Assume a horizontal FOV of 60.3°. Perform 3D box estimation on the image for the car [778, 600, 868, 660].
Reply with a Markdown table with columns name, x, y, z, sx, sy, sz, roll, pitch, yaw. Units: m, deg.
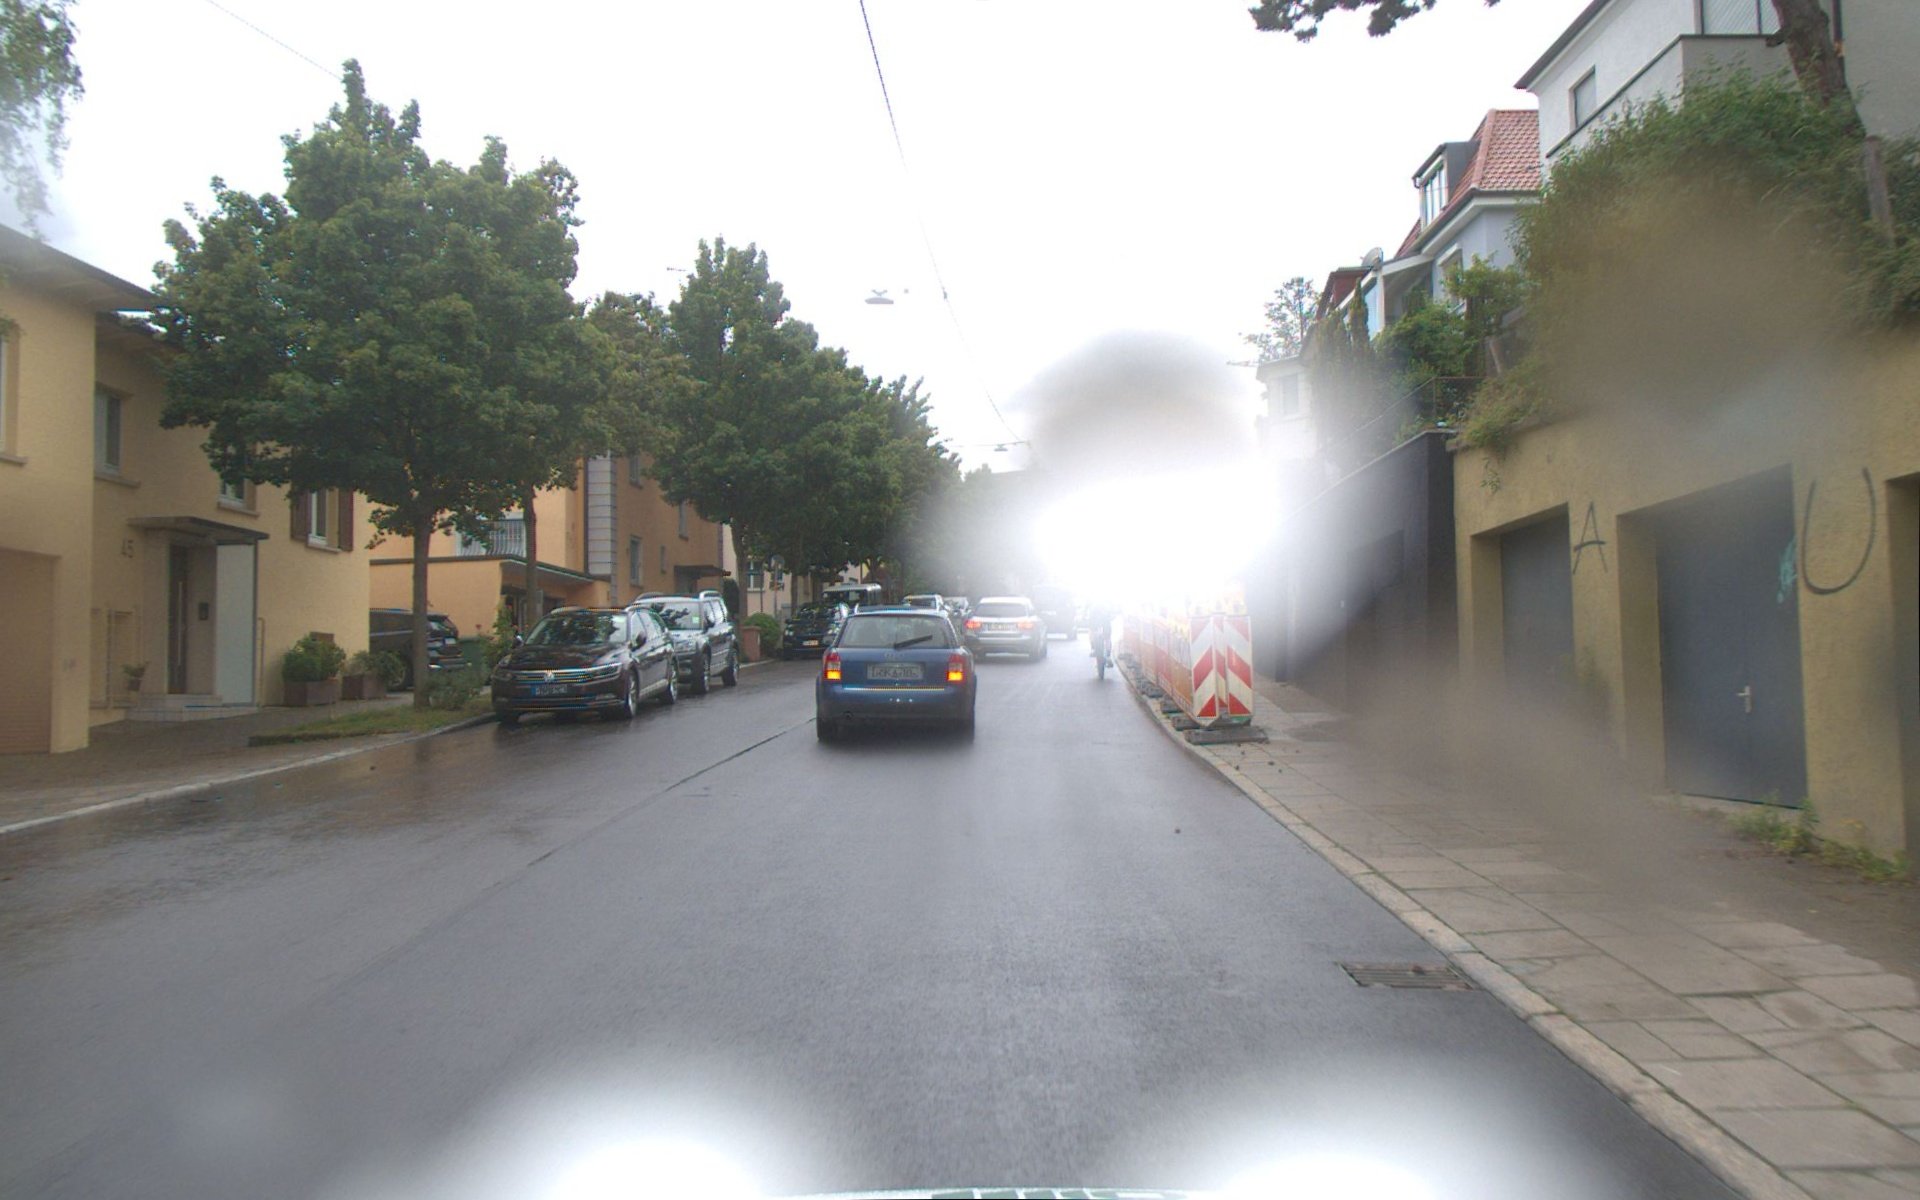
| name | x | y | z | sx | sy | sz | roll | pitch | yaw |
| --- | --- | --- | --- | --- | --- | --- | --- | --- | --- |
| car | -3.659 | 0.782 | 44.822 | 1.731 | 1.461 | 4.349 | -2 | 0 | 4 |

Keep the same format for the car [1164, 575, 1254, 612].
| name | x | y | z | sx | sy | sz | roll | pitch | yaw |
| --- | --- | --- | --- | --- | --- | --- | --- | --- | --- |
| car | 11.418 | -0.316 | 75.709 | 3.902 | 1.492 | 1.741 | -3 | 1 | 12 |

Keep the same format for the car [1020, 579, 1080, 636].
| name | x | y | z | sx | sy | sz | roll | pitch | yaw |
| --- | --- | --- | --- | --- | --- | --- | --- | --- | --- |
| car | 3.150 | 0.228 | 57.081 | 1.696 | 1.799 | 4.239 | 1 | 2 | 7 |

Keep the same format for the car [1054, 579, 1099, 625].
| name | x | y | z | sx | sy | sz | roll | pitch | yaw |
| --- | --- | --- | --- | --- | --- | --- | --- | --- | --- |
| car | 5.073 | 0.049 | 71.677 | 1.697 | 1.799 | 4.239 | 1 | 2 | 6 |

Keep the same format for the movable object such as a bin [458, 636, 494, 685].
| name | x | y | z | sx | sy | sz | roll | pitch | yaw |
| --- | --- | --- | --- | --- | --- | --- | --- | --- | --- |
| movable object such as a bin | -10.497 | 1.307 | 35.882 | 0.574 | 1.041 | 0.586 | 0 | 0 | 1 |

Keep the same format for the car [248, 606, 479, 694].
| name | x | y | z | sx | sy | sz | roll | pitch | yaw |
| --- | --- | --- | --- | --- | --- | --- | --- | --- | --- |
| car | -12.077 | 0.998 | 33.634 | 3.968 | 1.675 | 1.864 | -1 | -1 | 4 |

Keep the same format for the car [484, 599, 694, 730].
| name | x | y | z | sx | sy | sz | roll | pitch | yaw |
| --- | --- | --- | --- | --- | --- | --- | --- | --- | --- |
| car | -5.048 | 0.808 | 23.149 | 1.731 | 1.562 | 4.606 | -2 | 0 | 2 |

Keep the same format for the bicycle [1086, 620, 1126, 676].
| name | x | y | z | sx | sy | sz | roll | pitch | yaw |
| --- | --- | --- | --- | --- | --- | --- | --- | --- | --- |
| bicycle | 2.741 | 0.884 | 30.995 | 0.714 | 0.981 | 1.672 | 0 | 0 | 5 |

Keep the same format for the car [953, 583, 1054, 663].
| name | x | y | z | sx | sy | sz | roll | pitch | yaw |
| --- | --- | --- | --- | --- | --- | --- | --- | --- | --- |
| car | 1.096 | 0.503 | 39.281 | 1.933 | 1.663 | 4.239 | 1 | 2 | 7 |

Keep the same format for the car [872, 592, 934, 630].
| name | x | y | z | sx | sy | sz | roll | pitch | yaw |
| --- | --- | --- | --- | --- | --- | --- | --- | --- | --- |
| car | -3.290 | 0.652 | 95.547 | 3.143 | 1.770 | 1.481 | -7 | 0 | 9 |

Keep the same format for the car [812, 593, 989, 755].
| name | x | y | z | sx | sy | sz | roll | pitch | yaw |
| --- | --- | --- | --- | --- | --- | --- | --- | --- | --- |
| car | -0.571 | 0.742 | 18.707 | 1.697 | 1.492 | 4.002 | 1 | 2 | 2 |

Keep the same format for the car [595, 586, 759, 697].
| name | x | y | z | sx | sy | sz | roll | pitch | yaw |
| --- | --- | --- | --- | --- | --- | --- | --- | --- | --- |
| car | -4.809 | 0.659 | 28.690 | 1.731 | 1.662 | 4.112 | -4 | 0 | 5 |

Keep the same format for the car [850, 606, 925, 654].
| name | x | y | z | sx | sy | sz | roll | pitch | yaw |
| --- | --- | --- | --- | --- | --- | --- | --- | --- | --- |
| car | -2.431 | 0.992 | 56.816 | 1.730 | 1.411 | 4.638 | -2 | 1 | 7 |

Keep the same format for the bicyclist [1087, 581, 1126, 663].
| name | x | y | z | sx | sy | sz | roll | pitch | yaw |
| --- | --- | --- | --- | --- | --- | --- | --- | --- | --- |
| bicyclist | 2.735 | 0.404 | 30.931 | 0.710 | 1.498 | 0.887 | 0 | 0 | 5 |

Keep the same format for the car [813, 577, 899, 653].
| name | x | y | z | sx | sy | sz | roll | pitch | yaw |
| --- | --- | --- | --- | --- | --- | --- | --- | --- | --- |
| car | -3.123 | 0.407 | 50.570 | 1.754 | 2.085 | 4.785 | -4 | 0 | 5 |

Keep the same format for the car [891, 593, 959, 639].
| name | x | y | z | sx | sy | sz | roll | pitch | yaw |
| --- | --- | --- | --- | --- | --- | --- | --- | --- | --- |
| car | -1.318 | 0.612 | 63.665 | 1.730 | 1.655 | 4.694 | -2 | -1 | 9 |

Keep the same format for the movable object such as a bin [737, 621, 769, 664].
| name | x | y | z | sx | sy | sz | roll | pitch | yaw |
| --- | --- | --- | --- | --- | --- | --- | --- | --- | --- |
| movable object such as a bin | -5.374 | 1.095 | 42.962 | 0.669 | 1.028 | 0.708 | -5 | 0 | -1 |
